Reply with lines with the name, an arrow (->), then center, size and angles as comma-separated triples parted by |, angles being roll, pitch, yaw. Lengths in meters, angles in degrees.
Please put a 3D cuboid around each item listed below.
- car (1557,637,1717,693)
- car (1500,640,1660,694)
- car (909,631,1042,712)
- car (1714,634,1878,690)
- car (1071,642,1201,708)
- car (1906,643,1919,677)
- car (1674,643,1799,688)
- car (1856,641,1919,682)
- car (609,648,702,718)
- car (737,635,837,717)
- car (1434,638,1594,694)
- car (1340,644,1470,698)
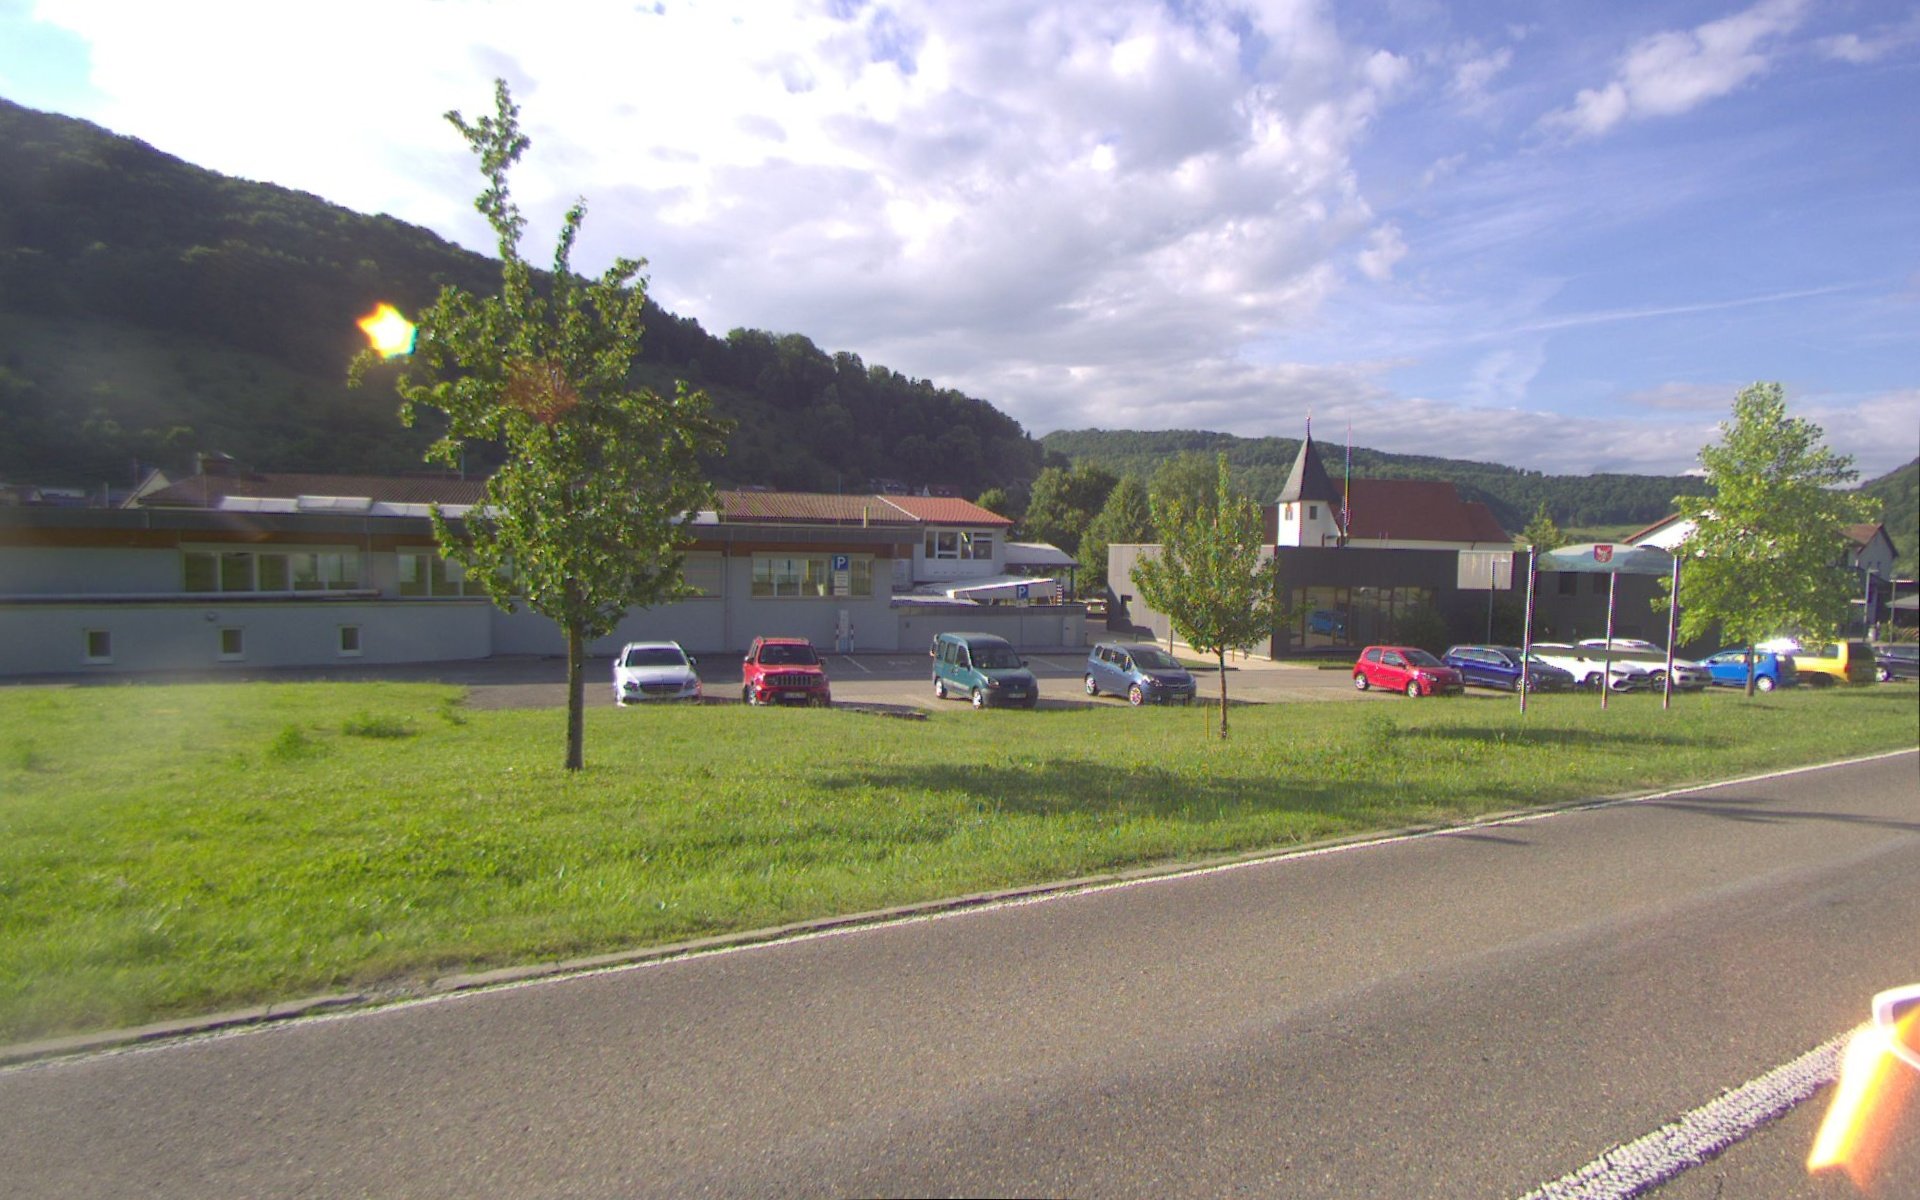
car -> 24.681, 2.323, 36.833 | 1.971, 1.725, 4.529 | 2, 0, -22
car -> 21.723, 2.301, 35.425 | 1.971, 1.575, 4.529 | 2, 0, -22
car -> 0.300, 1.847, 27.221 | 1.661, 1.817, 4.978 | 2, 0, -24
car -> 32.654, 2.388, 39.425 | 1.969, 1.893, 4.606 | 2, 0, -19
car -> 4.856, 2.032, 28.252 | 1.661, 1.471, 3.997 | -1, 1, -24
car -> 45.930, 2.824, 45.033 | 1.854, 1.513, 4.804 | 2, 0, -22
car -> 29.990, 2.509, 38.904 | 1.610, 1.492, 3.484 | 2, 0, -24
car -> 41.708, 2.700, 43.397 | 1.971, 1.659, 4.016 | 2, 0, -22
car -> -7.345, 1.928, 24.009 | 1.825, 1.386, 3.880 | 2, -1, -21
car -> -4.382, 1.811, 24.920 | 1.819, 1.691, 4.318 | 2, 0, -18
car -> 18.714, 2.204, 34.164 | 1.971, 1.575, 4.529 | 2, 0, -22
car -> 14.099, 2.214, 32.010 | 1.592, 1.416, 3.713 | 2, 0, -22
